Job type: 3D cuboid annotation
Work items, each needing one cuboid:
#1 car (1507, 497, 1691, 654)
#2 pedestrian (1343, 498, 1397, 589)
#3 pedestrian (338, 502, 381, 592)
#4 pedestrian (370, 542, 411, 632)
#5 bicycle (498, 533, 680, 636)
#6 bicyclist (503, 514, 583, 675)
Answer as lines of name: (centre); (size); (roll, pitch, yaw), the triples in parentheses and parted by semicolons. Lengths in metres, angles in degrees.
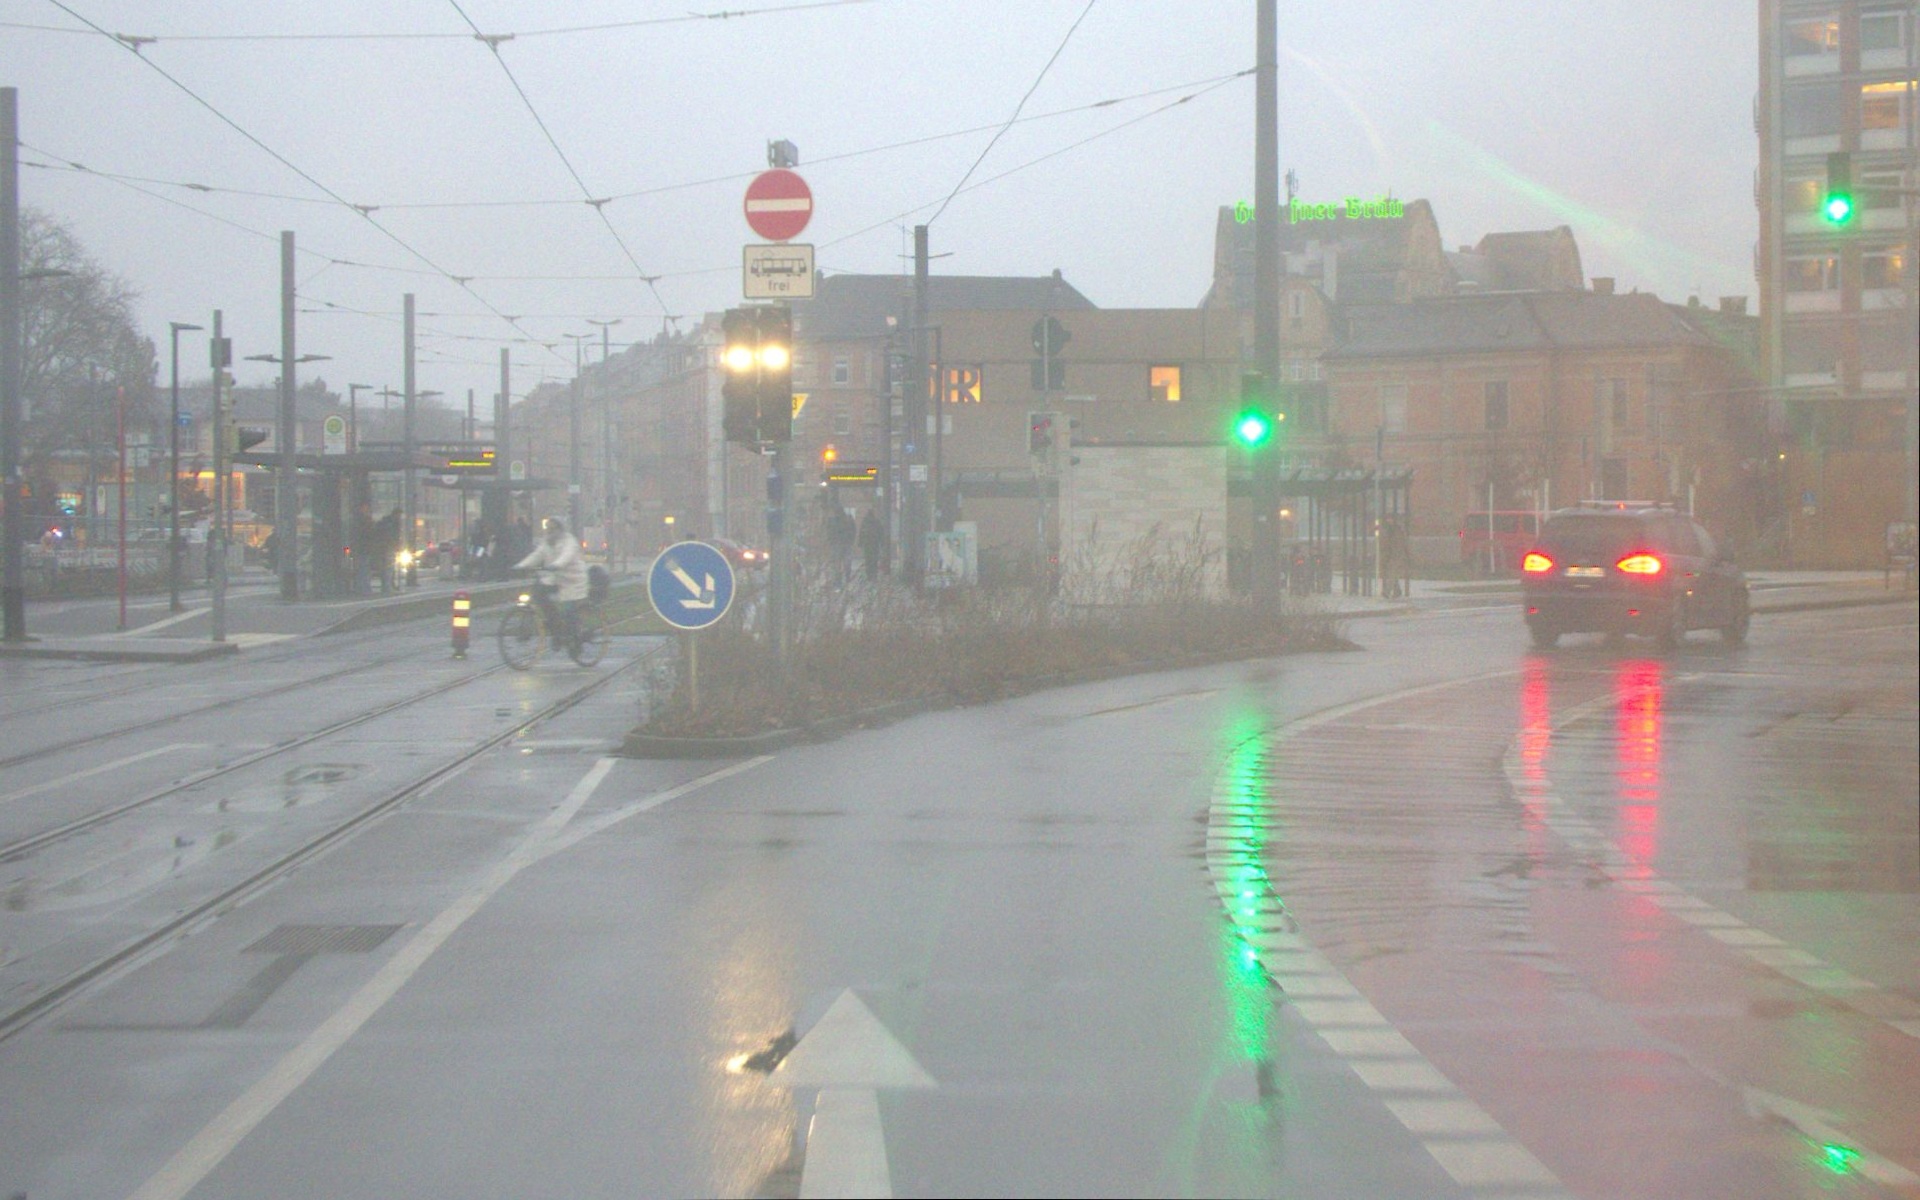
car: (8.105, -0.352, 43.385); (1.649, 1.812, 3.997); (1, 3, 20)
pedestrian: (7.666, -1.052, 64.272); (0.674, 1.668, 0.729); (2, 1, 37)
pedestrian: (-11.789, -1.032, 67.541); (0.712, 1.751, 0.717); (1, 1, -1)
pedestrian: (-11.567, -0.271, 69.794); (0.712, 1.800, 0.717); (1, 1, -1)
bicycle: (-4.173, -0.191, 38.840); (0.627, 1.070, 2.204); (2, 4, 41)
bicyclist: (-4.641, -0.061, 38.291); (0.611, 1.762, 0.588); (2, 1, 42)
